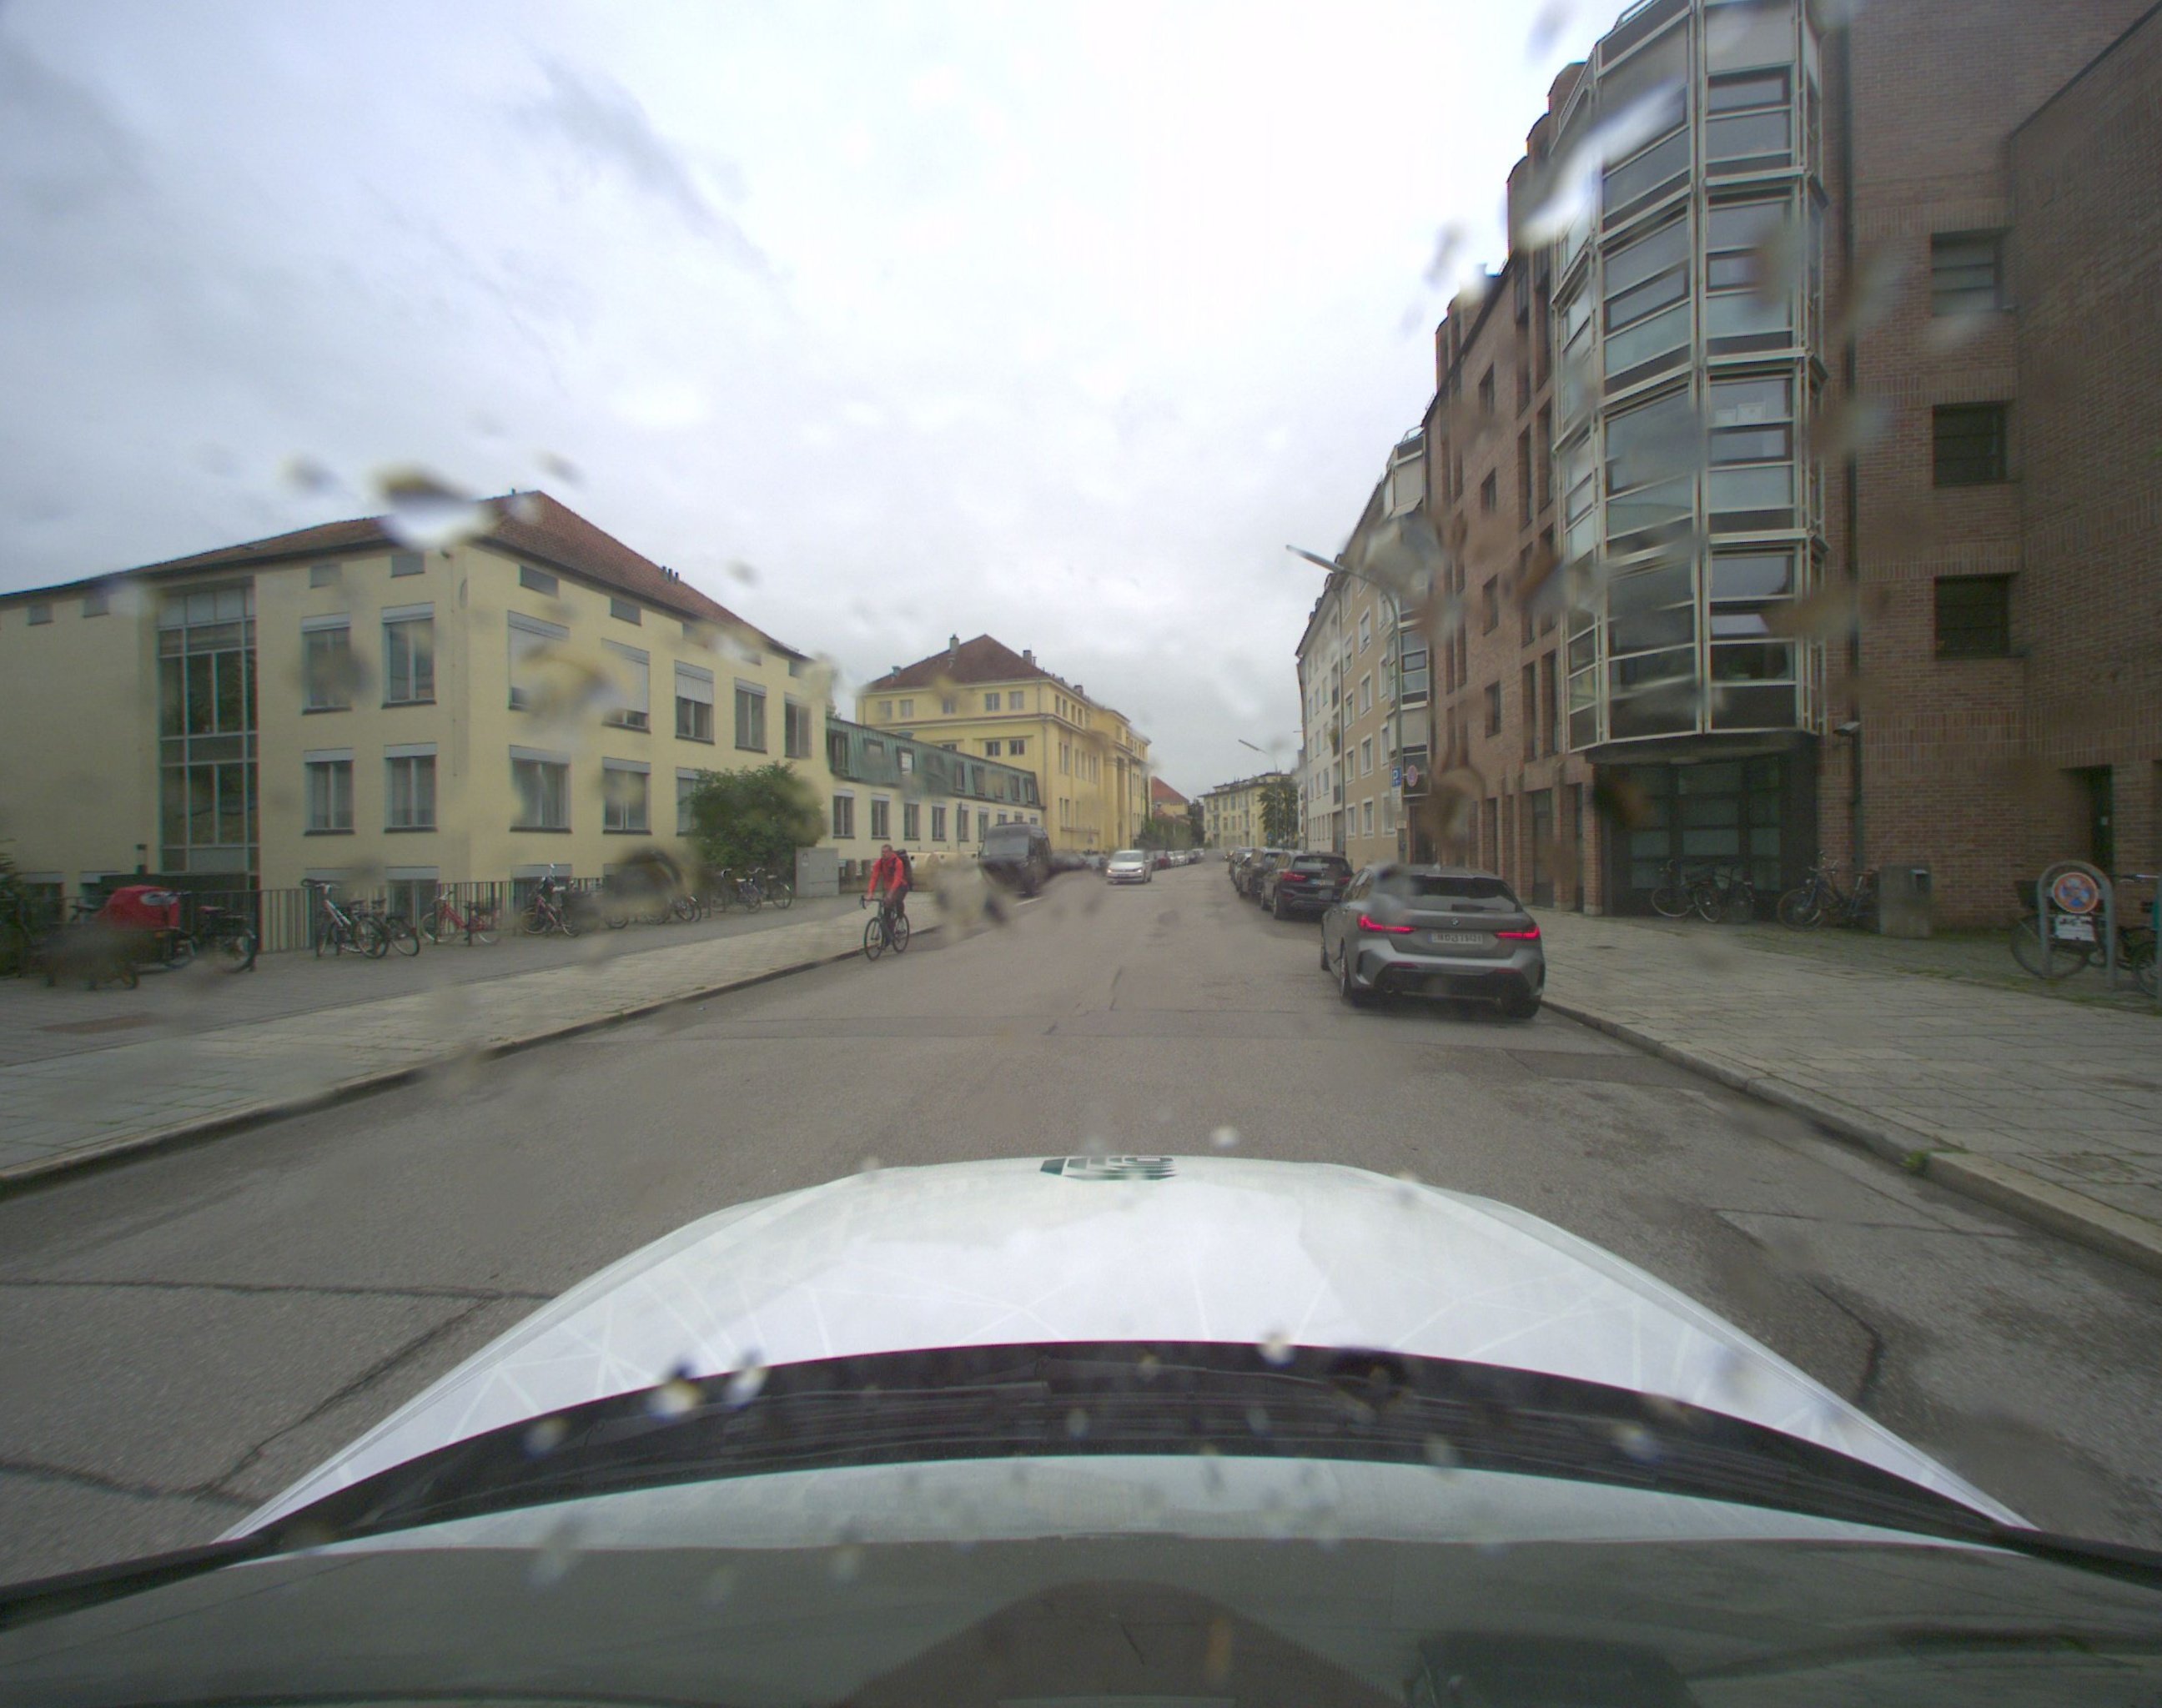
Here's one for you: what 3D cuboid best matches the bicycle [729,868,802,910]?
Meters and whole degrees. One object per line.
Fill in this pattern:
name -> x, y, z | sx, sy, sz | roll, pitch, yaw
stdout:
bicycle -> -8.816, 0.963, 22.752 | 1.889, 1.092, 0.681 | 1, 1, 19

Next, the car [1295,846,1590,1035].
car -> 3.546, 0.685, 8.932 | 1.913, 1.512, 4.403 | 1, 1, 9

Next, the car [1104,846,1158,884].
car -> 2.536, 0.553, 39.859 | 2.013, 1.621, 4.518 | -3, -2, 10

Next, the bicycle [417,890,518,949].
bicycle -> -10.827, 1.144, 14.376 | 1.661, 0.916, 0.598 | 1, 1, 19

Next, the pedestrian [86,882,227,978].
pedestrian -> -12.549, 1.004, 11.085 | 0.713, 1.163, 1.044 | 1, 1, 14

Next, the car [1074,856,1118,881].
car -> 0.885, 0.801, 46.596 | 1.516, 1.202, 3.758 | 1, 2, 17

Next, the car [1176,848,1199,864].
car -> 11.080, 0.207, 84.524 | 1.980, 1.548, 4.014 | 1, 1, 12

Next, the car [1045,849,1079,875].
car -> -1.274, 0.540, 55.600 | 1.593, 1.660, 2.820 | 1, 1, 15

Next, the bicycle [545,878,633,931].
bicycle -> -10.452, 1.051, 17.305 | 1.851, 1.029, 0.542 | 1, 1, 19

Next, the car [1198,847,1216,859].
car -> 16.606, -0.146, 107.162 | 1.980, 1.548, 4.014 | 1, 1, 12

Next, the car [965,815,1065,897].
car -> -2.331, 0.103, 30.921 | 2.408, 2.715, 5.966 | -2, -1, 8

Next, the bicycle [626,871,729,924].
bicycle -> -9.583, 1.006, 19.341 | 2.466, 1.140, 0.639 | 1, 1, 19

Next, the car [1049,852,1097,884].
car -> -0.366, 0.701, 42.090 | 1.688, 1.453, 3.753 | 1, 1, 11

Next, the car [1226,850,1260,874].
car -> 9.909, 0.461, 50.002 | 1.876, 1.410, 4.442 | 1, 0, 9

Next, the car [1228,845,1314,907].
car -> 5.596, 0.562, 24.551 | 1.954, 1.601, 4.680 | 1, 1, 6

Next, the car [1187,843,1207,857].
car -> 13.412, -0.484, 93.815 | 1.980, 1.548, 4.014 | 1, 1, 12

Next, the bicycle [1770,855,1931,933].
bicycle -> 12.188, 0.616, 12.943 | 1.834, 1.147, 0.490 | 1, 1, 15

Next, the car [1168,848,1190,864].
car -> 9.550, 0.133, 79.002 | 1.686, 1.444, 3.522 | 1, 1, 13

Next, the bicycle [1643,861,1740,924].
bicycle -> 11.070, 0.660, 14.853 | 0.483, 1.060, 2.000 | 1, 0, 7

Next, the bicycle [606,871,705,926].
bicycle -> -9.724, 0.985, 18.585 | 2.291, 1.135, 0.584 | 1, 1, 19

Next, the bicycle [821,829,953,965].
bicycle -> -3.116, 0.620, 13.541 | 0.742, 2.013, 2.859 | -3, 0, 15

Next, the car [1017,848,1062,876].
car -> -2.599, 0.463, 51.349 | 1.707, 1.660, 3.764 | 1, 1, 15

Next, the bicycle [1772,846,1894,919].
bicycle -> 12.441, 0.455, 13.503 | 1.466, 1.147, 0.384 | 1, 1, 15

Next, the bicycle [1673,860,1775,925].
bicycle -> 11.621, 0.654, 14.798 | 0.483, 1.059, 2.000 | 1, 1, 7

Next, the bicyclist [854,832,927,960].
bicyclist -> -3.140, 0.669, 13.473 | 0.761, 2.013, 0.771 | -4, 0, 15

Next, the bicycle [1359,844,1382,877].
bicycle -> 12.201, 0.234, 34.347 | 0.465, 1.288, 2.683 | 1, 1, 10

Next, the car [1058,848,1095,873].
car -> -0.310, 0.427, 58.853 | 1.707, 1.660, 3.764 | 1, 1, 15

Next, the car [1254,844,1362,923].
car -> 5.341, 0.609, 19.697 | 1.821, 1.601, 4.274 | 1, 1, 6

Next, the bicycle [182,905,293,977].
bicycle -> -11.519, 1.172, 11.120 | 1.361, 0.862, 0.441 | 1, 1, 15

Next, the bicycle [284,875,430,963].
bicycle -> -11.426, 0.987, 12.850 | 2.087, 1.227, 0.791 | 1, 1, 19

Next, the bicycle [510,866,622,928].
bicycle -> -10.560, 0.871, 16.672 | 2.532, 1.206, 0.426 | -1, 1, 19

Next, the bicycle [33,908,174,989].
bicycle -> -12.092, 1.150, 10.076 | 1.706, 0.862, 0.441 | 1, 1, 15

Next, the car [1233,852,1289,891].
car -> 7.390, 0.655, 33.785 | 1.877, 1.475, 4.753 | 1, 0, 7

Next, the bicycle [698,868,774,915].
bicycle -> -9.014, 0.960, 21.283 | 1.940, 1.131, 0.576 | 1, 1, 19

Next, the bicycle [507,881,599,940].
bicycle -> -10.256, 1.080, 15.827 | 1.776, 1.033, 0.510 | 1, 1, 19

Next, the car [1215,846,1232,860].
car -> 15.882, -0.124, 90.833 | 1.686, 1.444, 3.521 | 1, 1, 13

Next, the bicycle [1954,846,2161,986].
bicycle -> 9.944, 0.562, 7.886 | 0.531, 1.248, 2.416 | 1, -1, 4

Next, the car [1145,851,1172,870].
car -> 6.339, 0.500, 66.183 | 1.686, 1.444, 3.521 | 1, 1, 13
